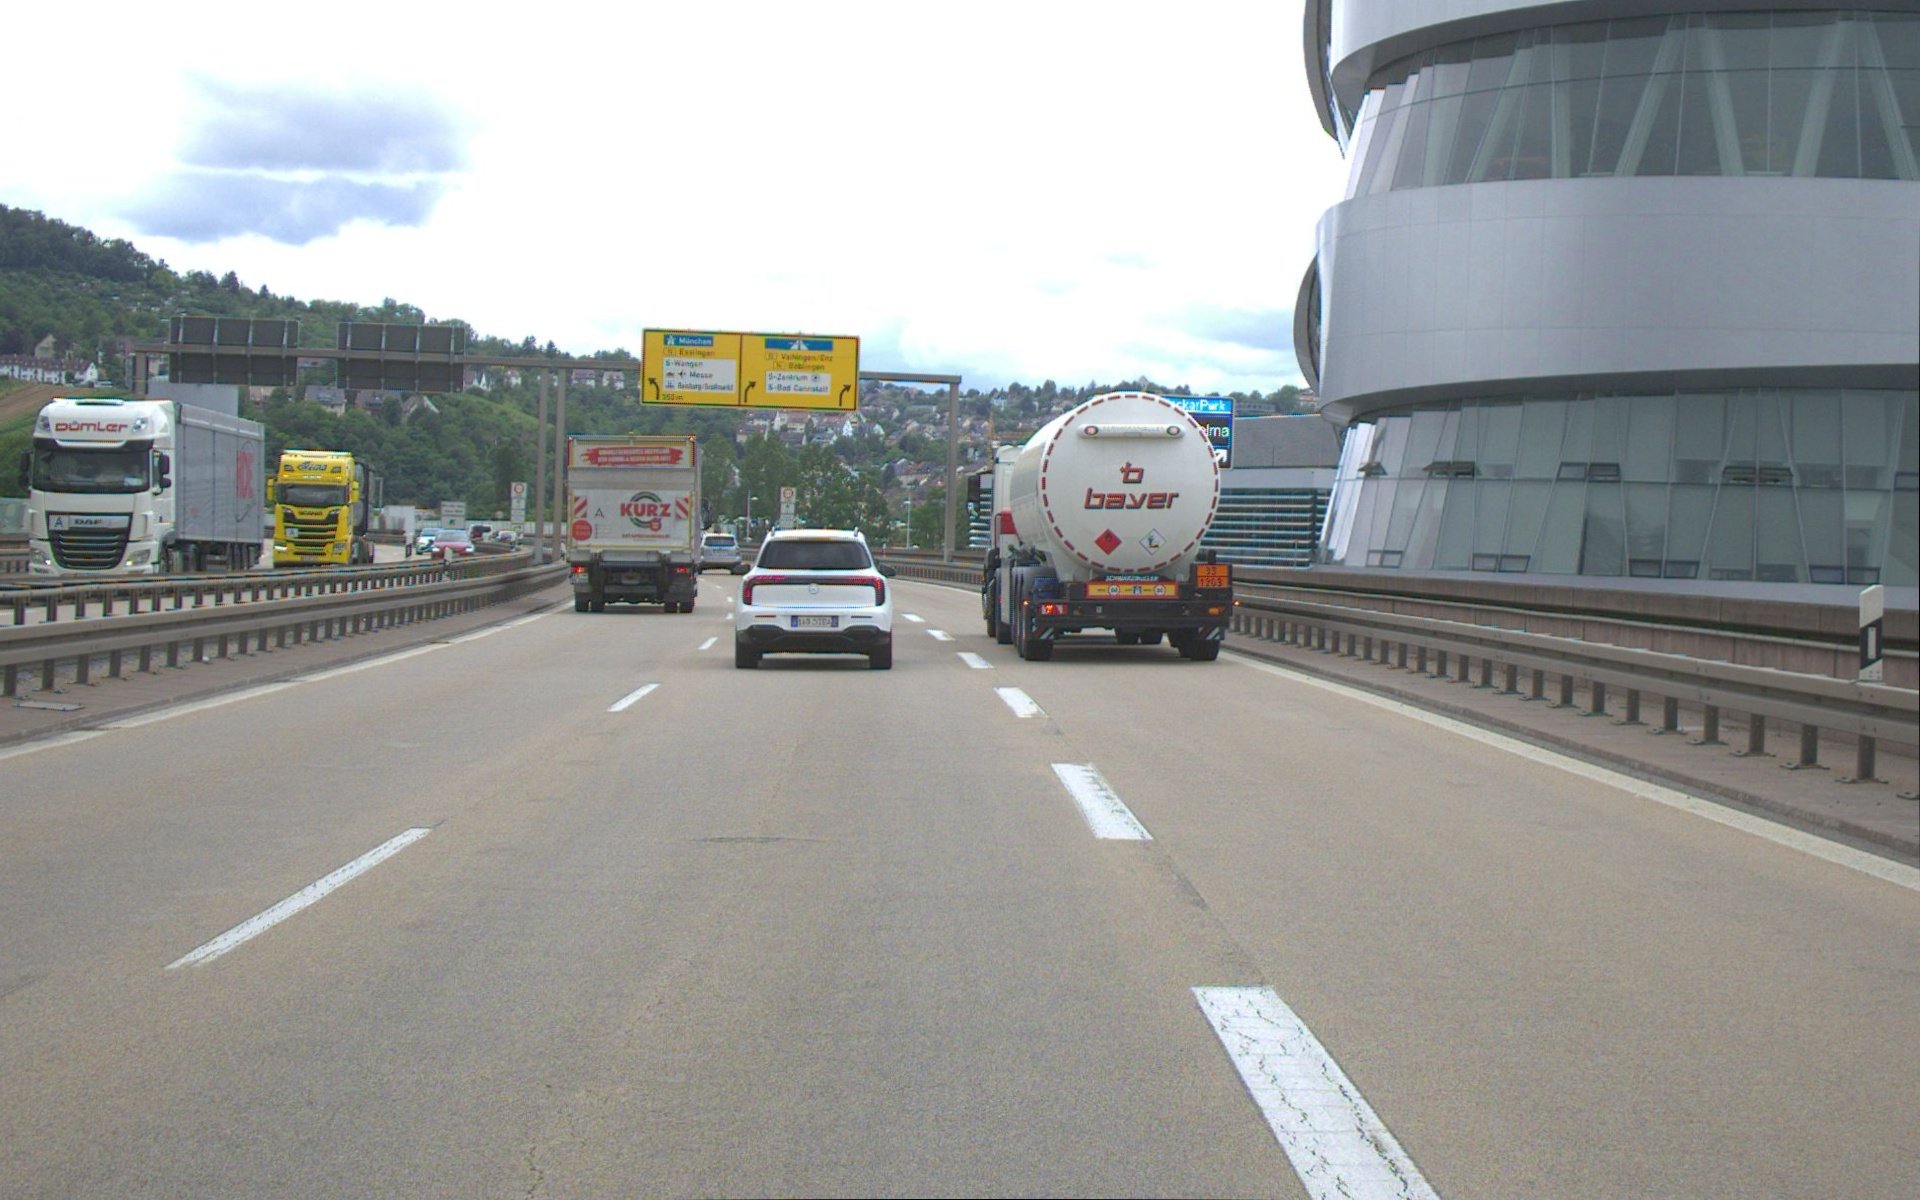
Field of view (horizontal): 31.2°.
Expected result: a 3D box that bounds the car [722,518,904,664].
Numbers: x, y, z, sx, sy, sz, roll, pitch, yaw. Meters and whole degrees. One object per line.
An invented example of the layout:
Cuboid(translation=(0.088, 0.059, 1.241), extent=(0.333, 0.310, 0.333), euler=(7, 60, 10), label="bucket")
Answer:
Cuboid(translation=(-1.741, -0.121, 42.046), extent=(1.993, 1.669, 4.408), euler=(1, 0, 0), label="car")

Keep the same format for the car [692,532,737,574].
Cuboid(translation=(-9.971, -1.896, 140.037), extent=(1.683, 1.644, 4.360), euler=(2, 0, -3), label="car")

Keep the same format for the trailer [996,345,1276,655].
Cuboid(translation=(2.201, -1.262, 46.353), extent=(3.057, 3.777, 8.304), euler=(1, 0, -2), label="trailer")

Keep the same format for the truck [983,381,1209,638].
Cuboid(translation=(1.968, -1.312, 52.250), extent=(3.014, 3.644, 6.274), euler=(1, 0, -1), label="truck")

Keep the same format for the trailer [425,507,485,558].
Cuboid(translation=(-20.352, -2.716, 138.696), extent=(1.993, 2.007, 4.000), euler=(1, 0, -3), label="trailer")

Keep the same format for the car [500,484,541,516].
Cuboid(translation=(-23.376, -5.301, 182.940), extent=(1.993, 1.601, 4.808), euler=(1, 0, -6), label="car")

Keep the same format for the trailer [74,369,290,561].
Cuboid(translation=(-17.894, -2.973, 79.913), extent=(2.844, 3.974, 11.886), euler=(1, 0, -3), label="trailer")

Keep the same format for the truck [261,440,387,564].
Cuboid(translation=(-21.986, -3.286, 119.492), extent=(3.056, 4.051, 11.859), euler=(1, 0, -5), label="truck")

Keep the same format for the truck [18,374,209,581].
Cuboid(translation=(-17.397, -2.449, 70.970), extent=(2.771, 4.065, 5.647), euler=(1, 0, -3), label="truck")

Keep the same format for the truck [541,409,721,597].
Cuboid(translation=(-6.772, -1.947, 71.881), extent=(3.057, 3.678, 8.304), euler=(1, 0, -1), label="truck")
